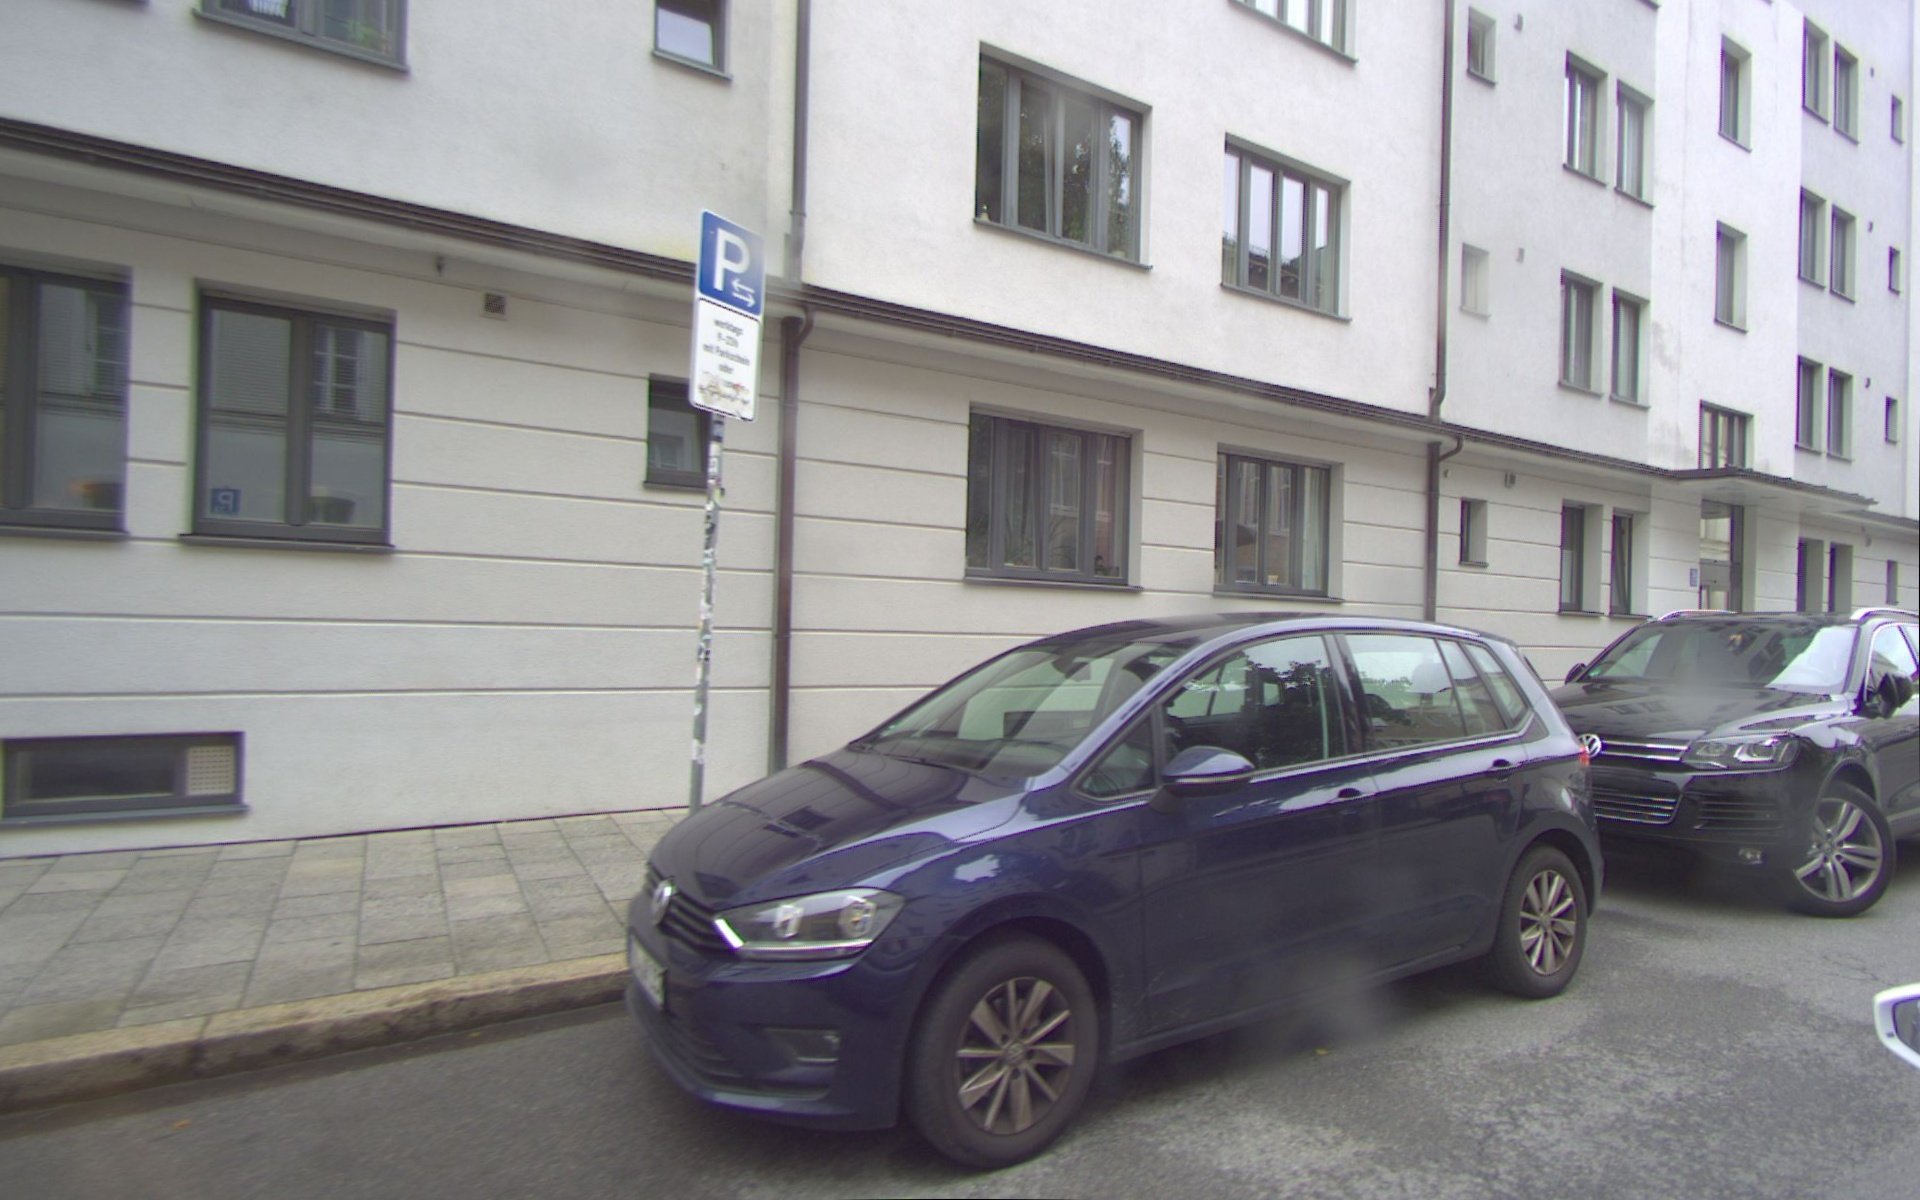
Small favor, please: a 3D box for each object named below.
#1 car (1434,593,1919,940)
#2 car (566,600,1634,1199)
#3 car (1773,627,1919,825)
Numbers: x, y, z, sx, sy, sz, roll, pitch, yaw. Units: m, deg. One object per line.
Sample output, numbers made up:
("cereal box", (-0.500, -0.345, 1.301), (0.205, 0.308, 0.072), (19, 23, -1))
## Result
("car", (5.492, 0.885, 6.932), (4.468, 1.710, 1.863), (1, -2, -31))
("car", (0.726, 0.840, 4.079), (4.111, 1.559, 1.765), (1, -2, -31))
("car", (10.020, 1.104, 9.750), (4.538, 1.680, 1.863), (1, -2, -31))
